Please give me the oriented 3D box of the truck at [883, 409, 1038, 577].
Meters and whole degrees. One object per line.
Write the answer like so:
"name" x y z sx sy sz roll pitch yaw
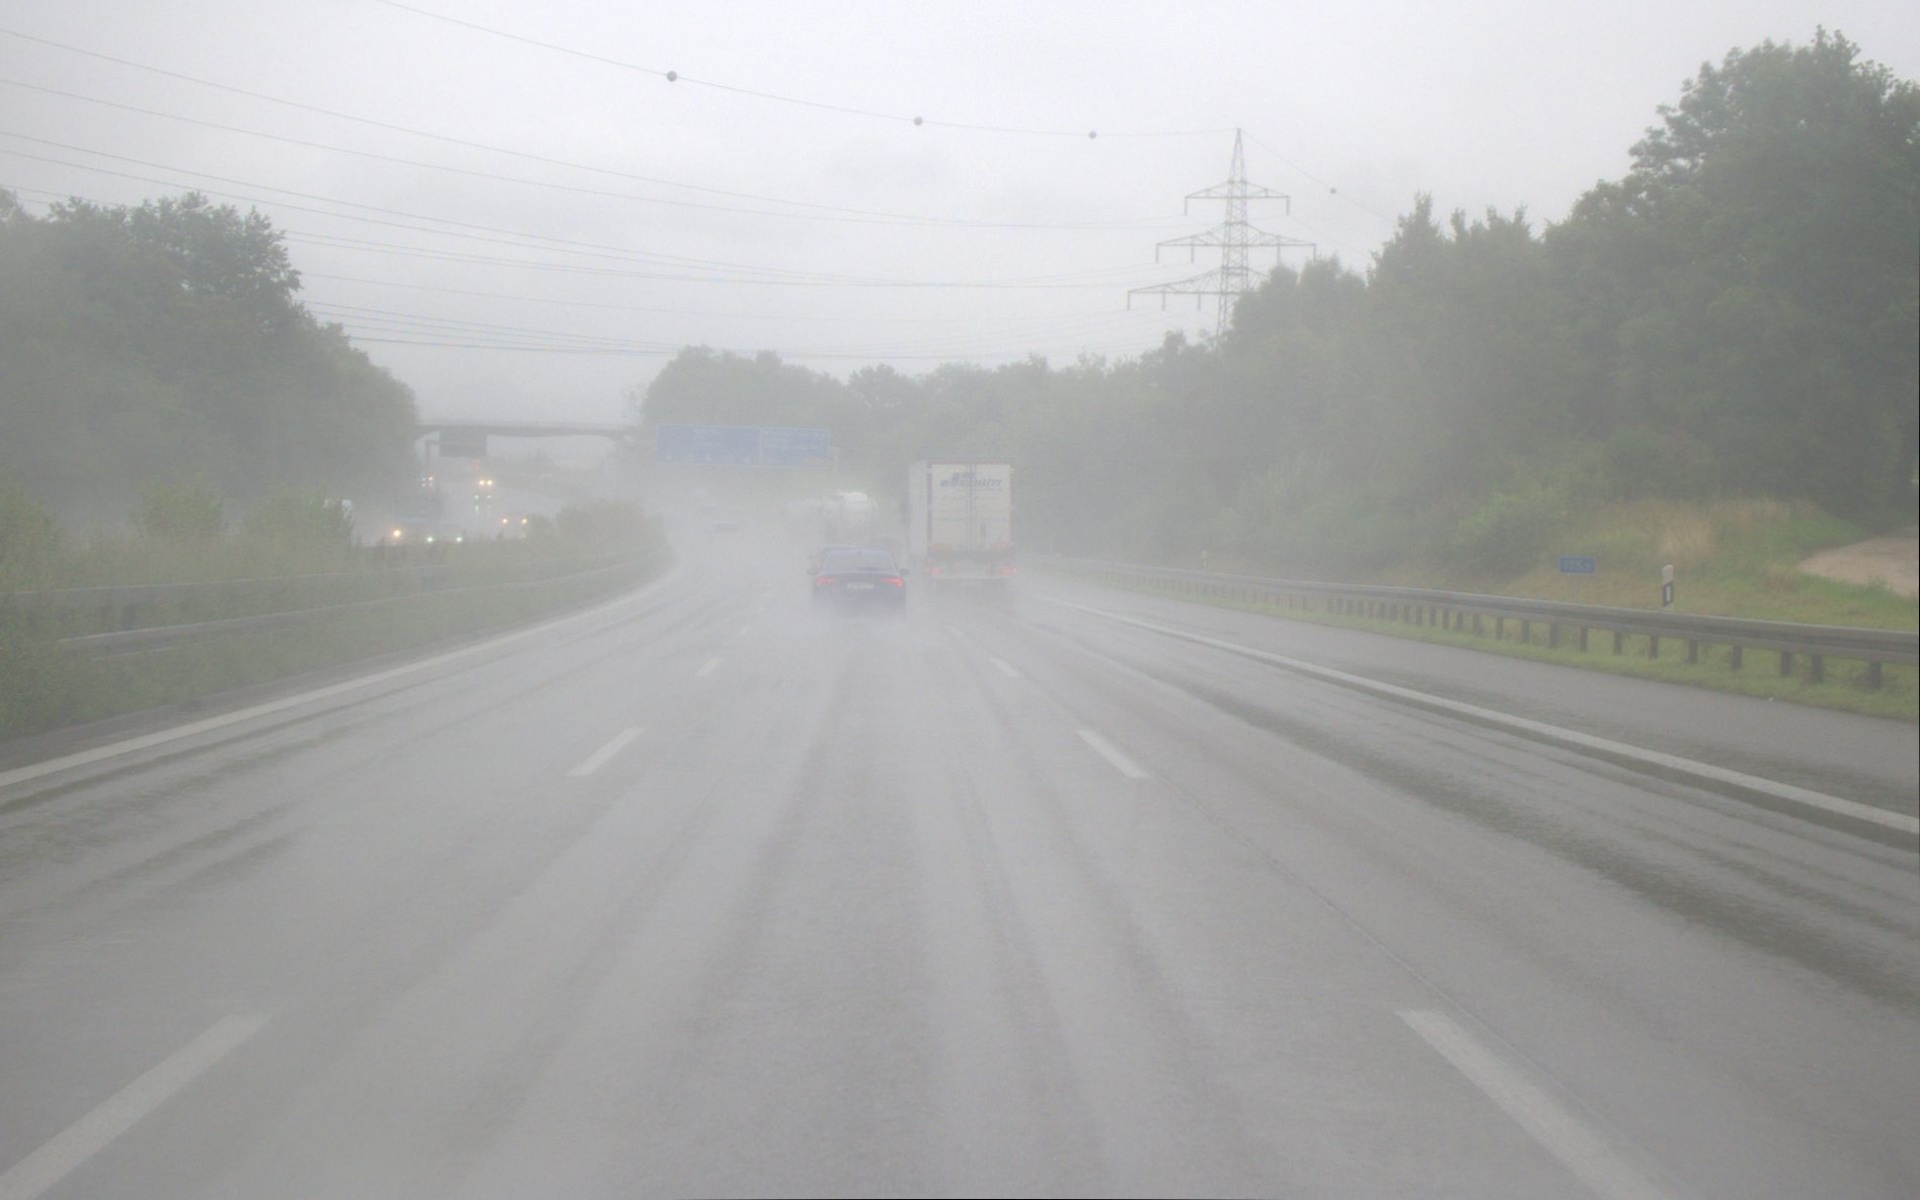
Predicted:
"truck" 0.218 -3.396 110.463 4.257 4.955 17.340 0 1 2

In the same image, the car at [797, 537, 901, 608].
"car" -2.082 -0.536 65.447 1.748 1.208 4.000 3 1 0

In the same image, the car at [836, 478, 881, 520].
"car" -5.828 -5.766 196.389 2.393 2.264 5.003 2 2 -3
